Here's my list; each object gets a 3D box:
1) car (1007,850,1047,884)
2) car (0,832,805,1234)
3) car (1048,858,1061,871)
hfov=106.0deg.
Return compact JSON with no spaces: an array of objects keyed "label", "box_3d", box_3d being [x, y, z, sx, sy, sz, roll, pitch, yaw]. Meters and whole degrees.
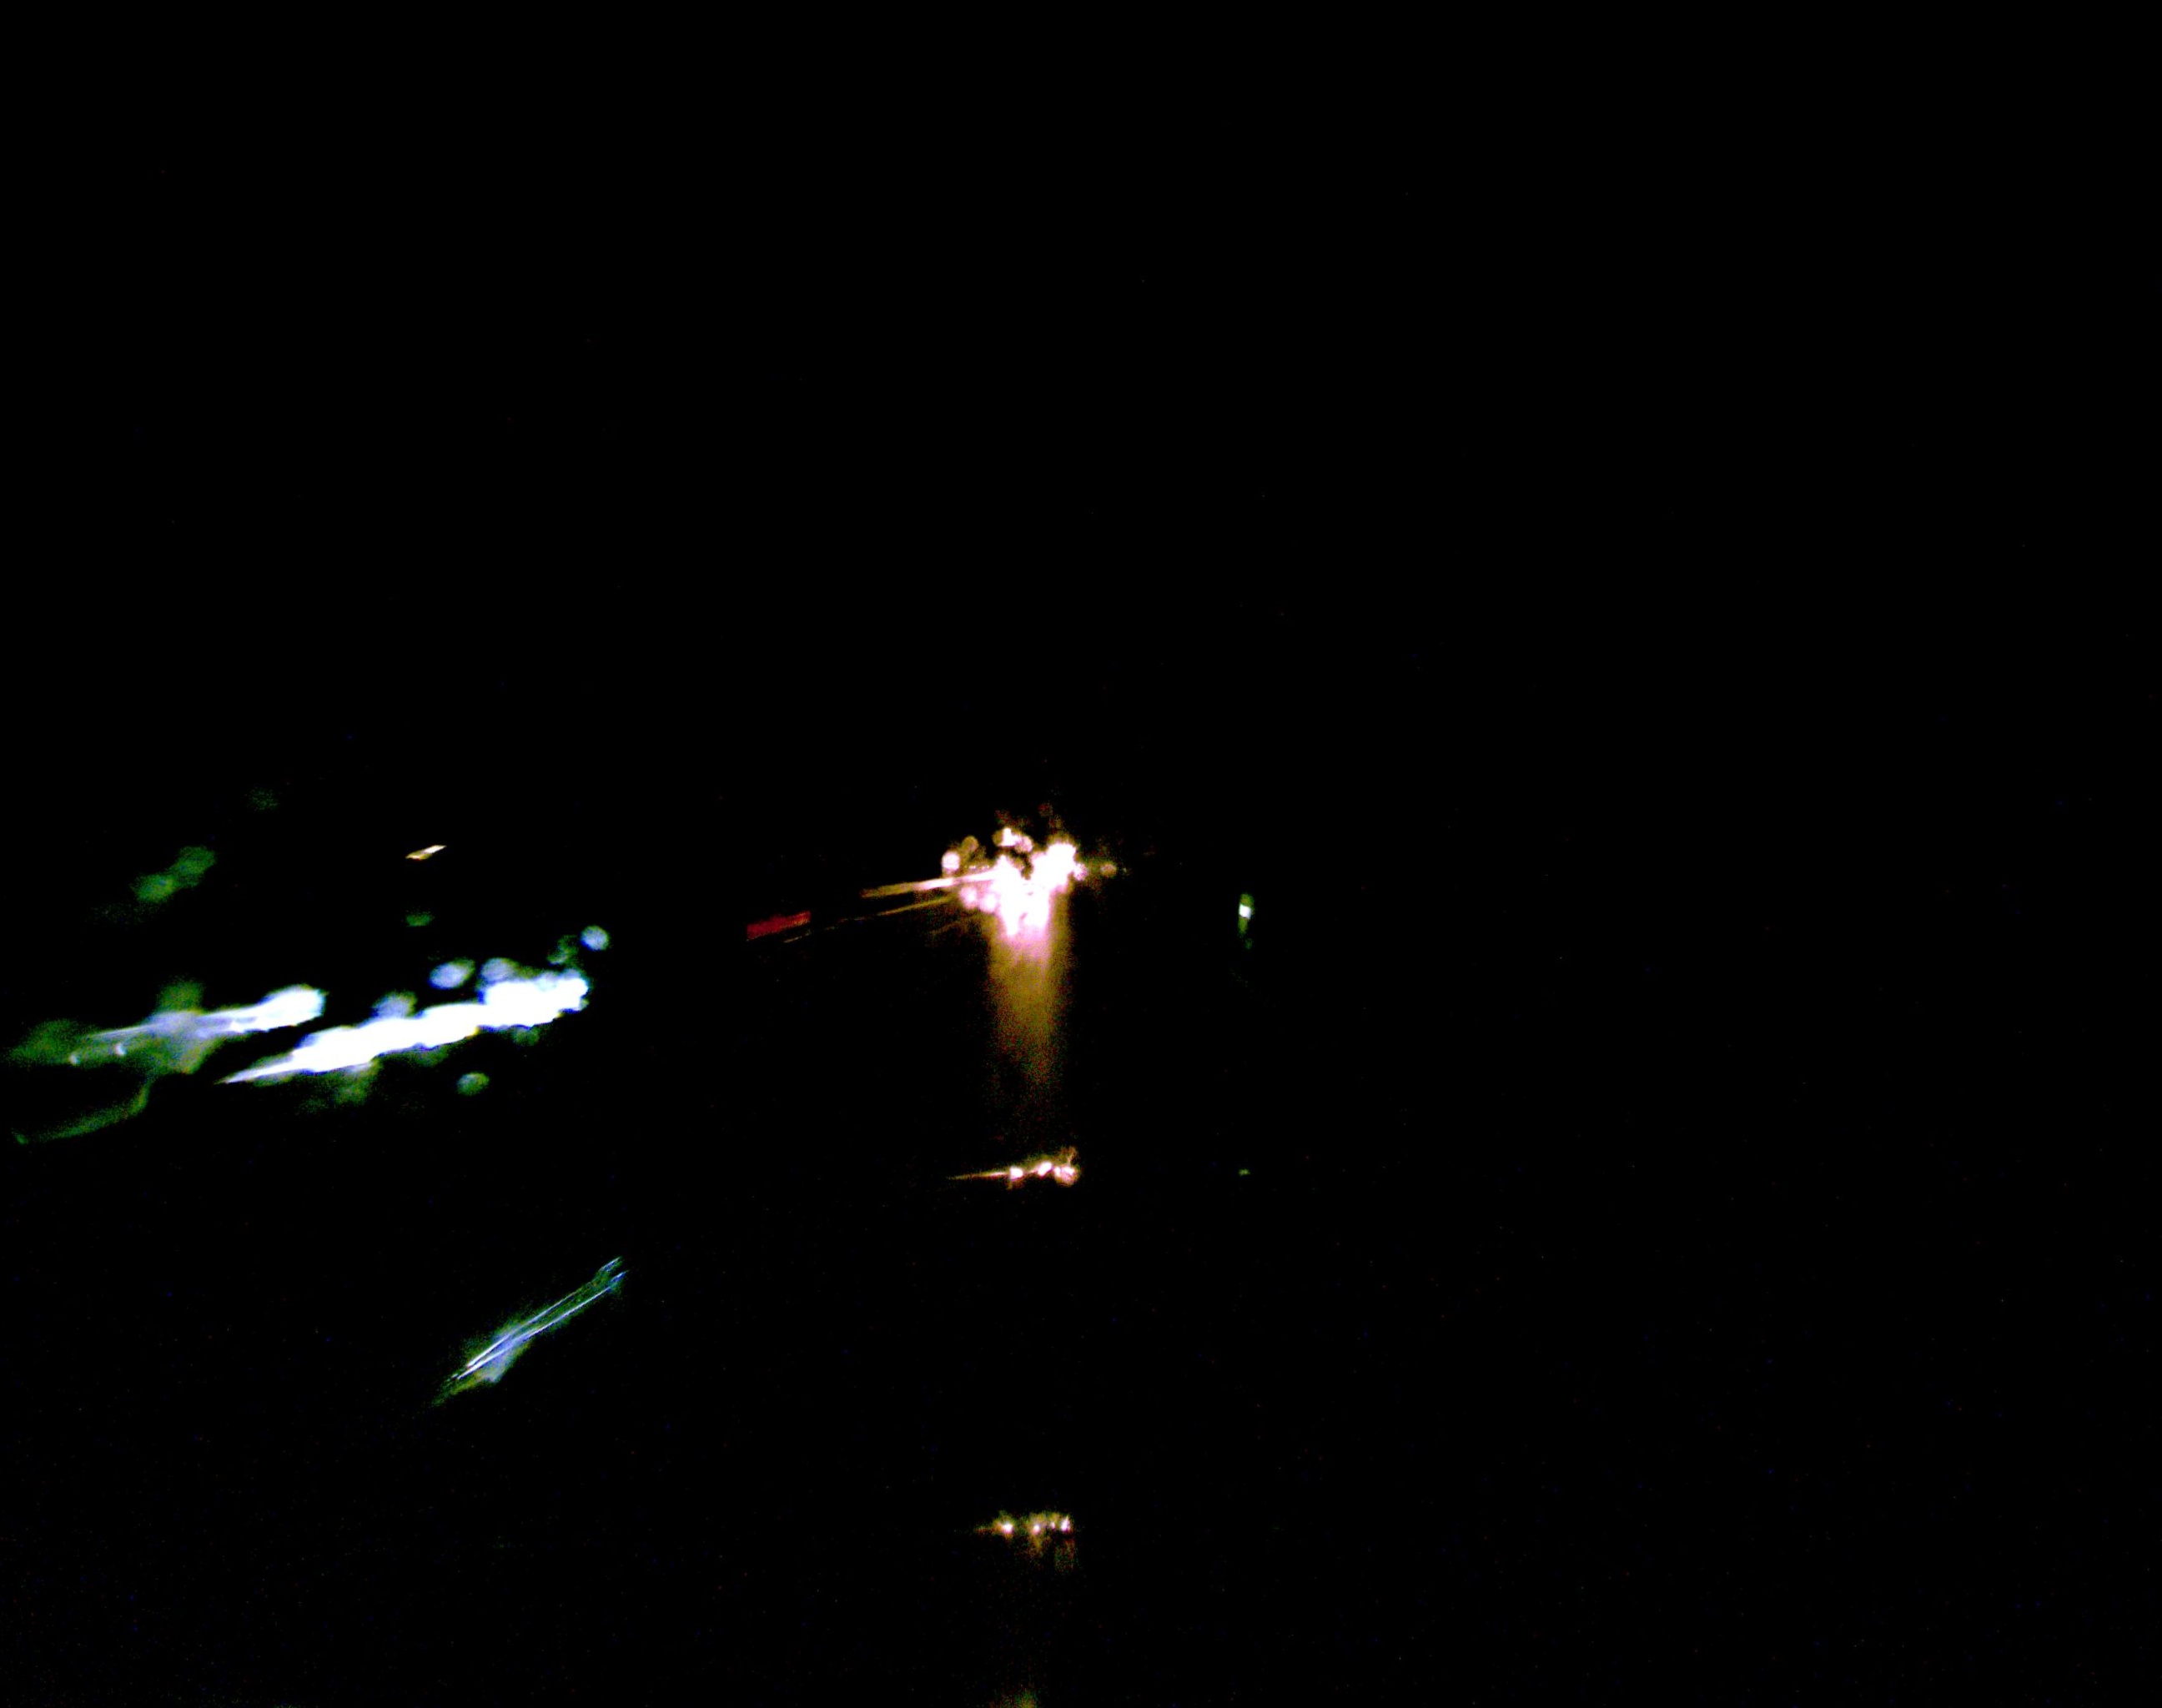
[{"label":"car","box_3d":[-2.838,0.666,43.685,1.648,1.682,4.522,-1,0,2]},{"label":"car","box_3d":[-3.551,0.733,5.360,1.915,1.615,4.087,-1,0,2]},{"label":"car","box_3d":[-3.399,1.322,104.974,1.478,1.616,3.561,1,0,1]}]
